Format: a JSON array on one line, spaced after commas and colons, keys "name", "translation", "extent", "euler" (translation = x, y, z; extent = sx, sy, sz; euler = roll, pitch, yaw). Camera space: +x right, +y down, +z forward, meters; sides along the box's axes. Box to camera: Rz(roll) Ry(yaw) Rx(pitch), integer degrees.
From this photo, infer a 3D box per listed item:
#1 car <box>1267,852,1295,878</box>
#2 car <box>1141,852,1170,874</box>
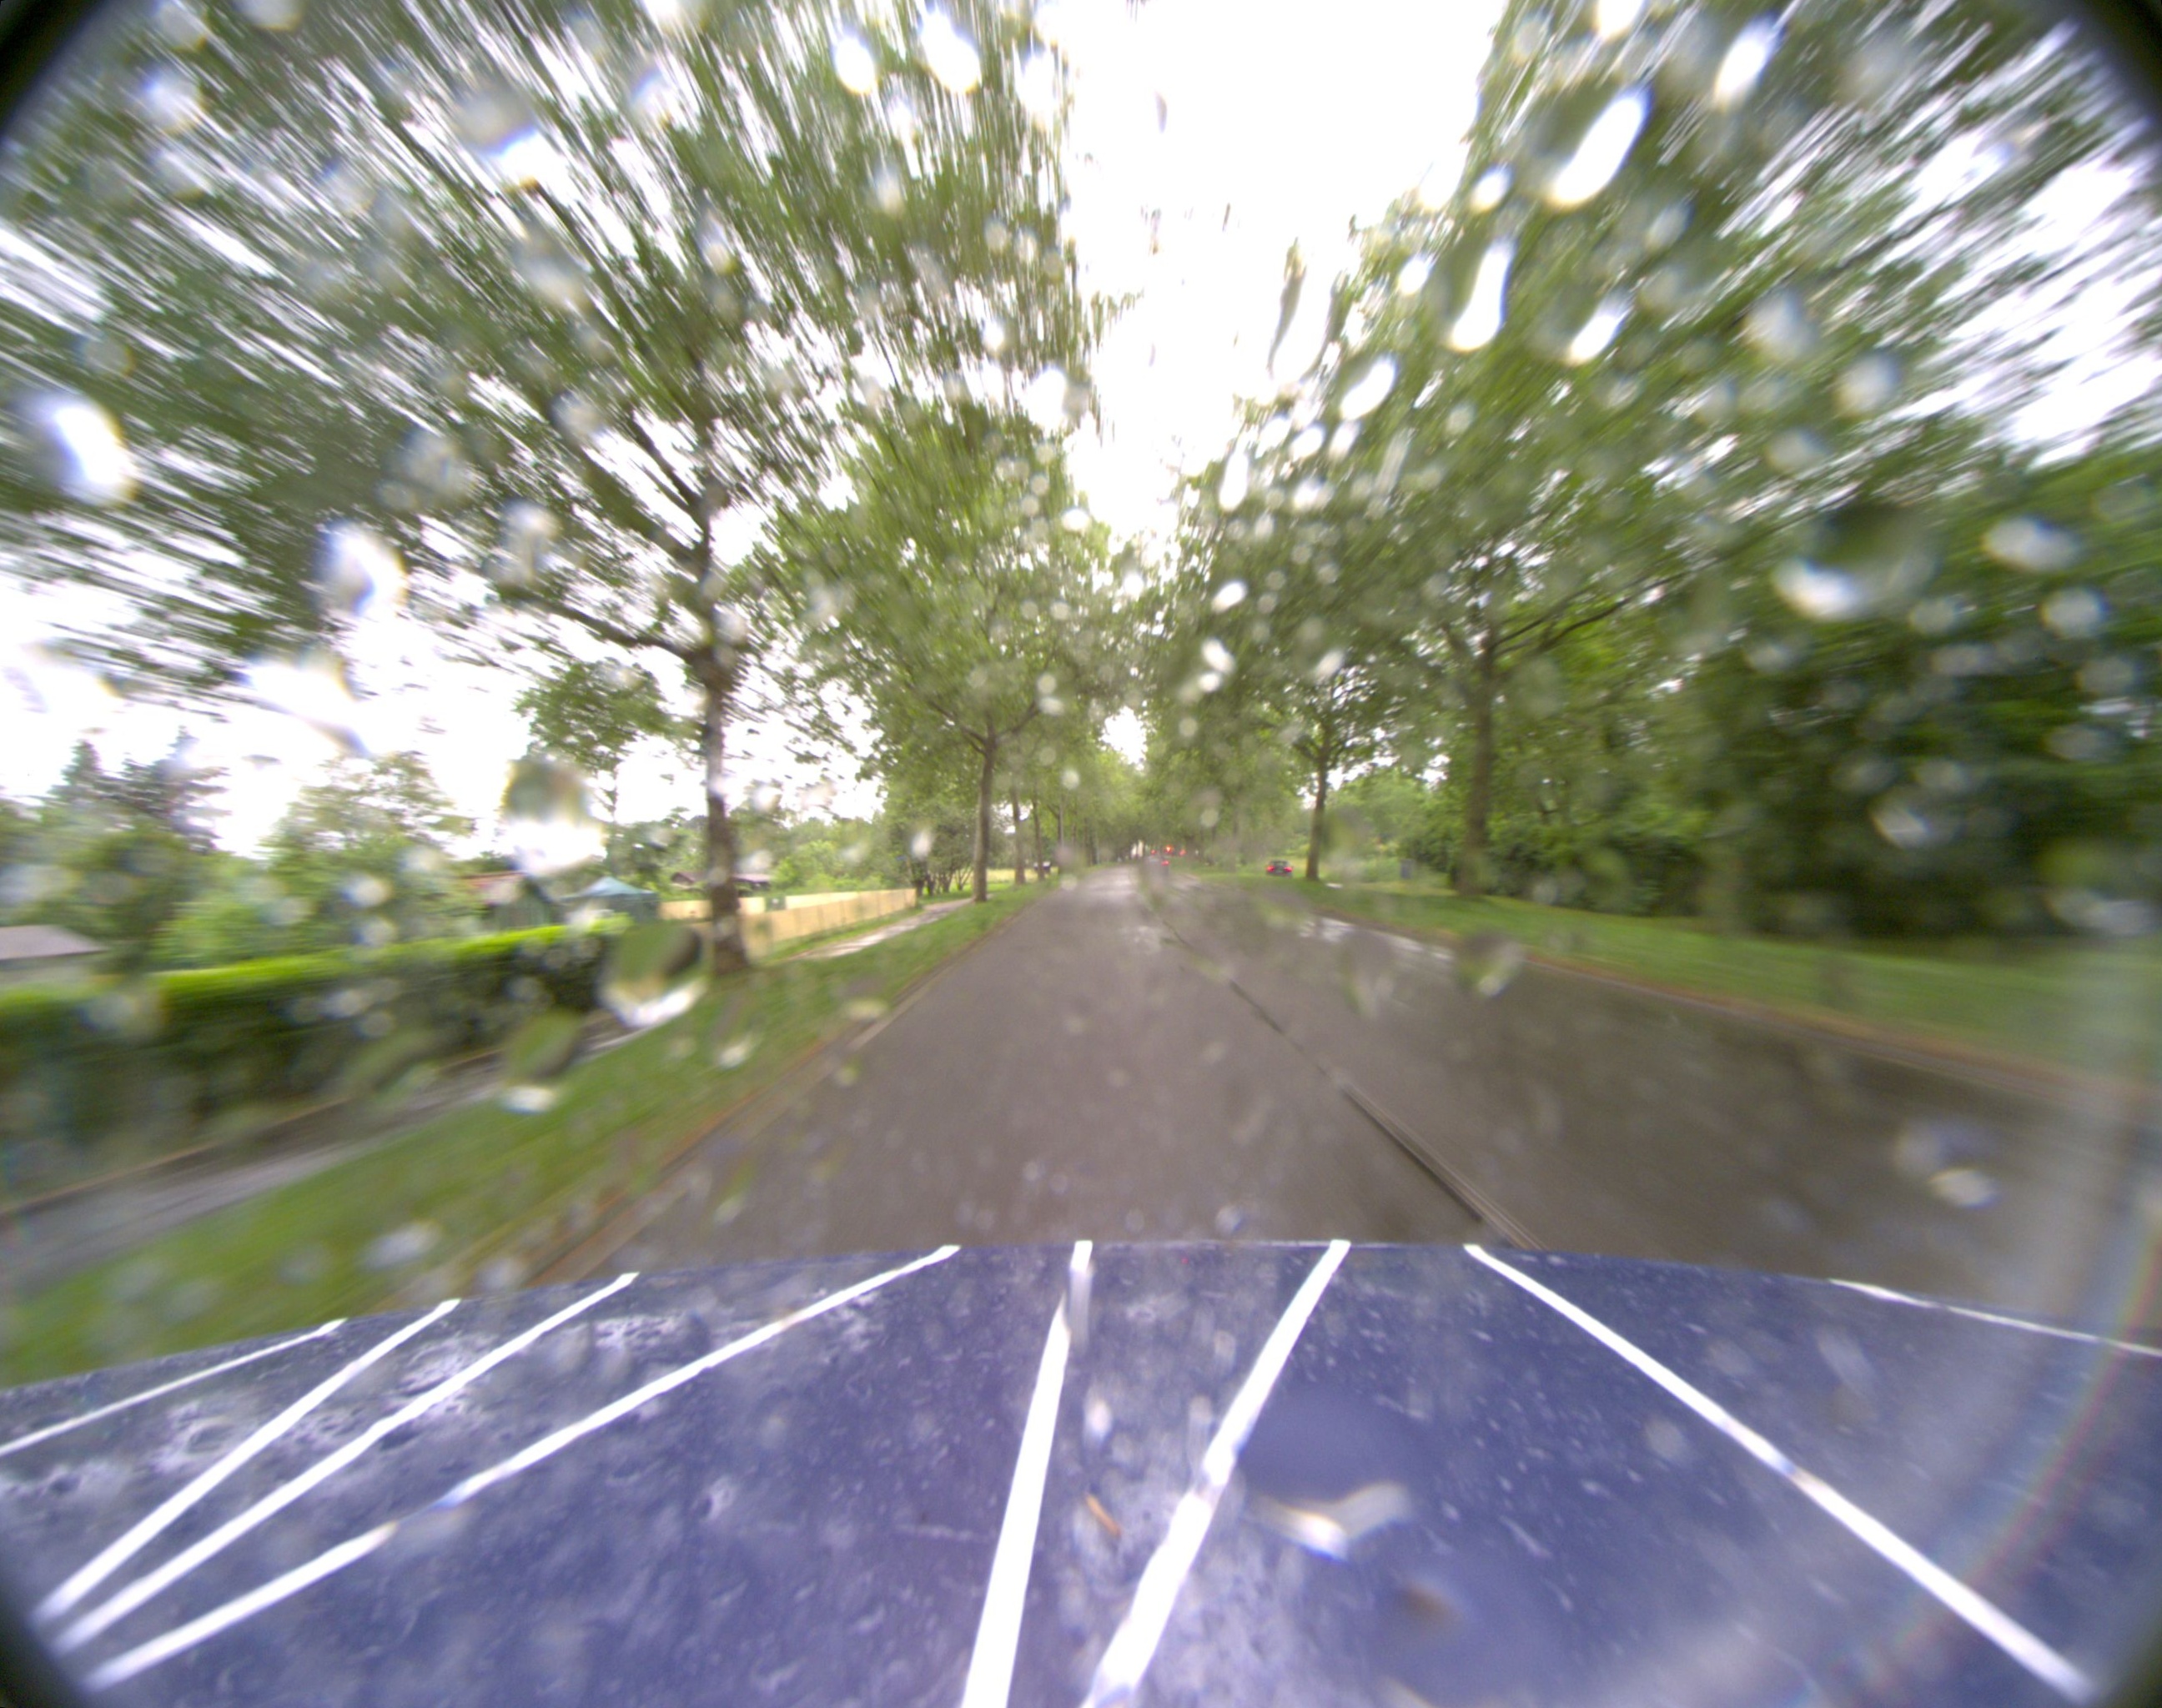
[{"name": "car", "translation": [14.816, 0.794, 56.315], "extent": [1.896, 1.672, 4.004], "euler": [-2, 1, 14]}, {"name": "car", "translation": [5.175, 0.593, 53.078], "extent": [1.593, 1.444, 3.373], "euler": [-2, 1, 0]}]
